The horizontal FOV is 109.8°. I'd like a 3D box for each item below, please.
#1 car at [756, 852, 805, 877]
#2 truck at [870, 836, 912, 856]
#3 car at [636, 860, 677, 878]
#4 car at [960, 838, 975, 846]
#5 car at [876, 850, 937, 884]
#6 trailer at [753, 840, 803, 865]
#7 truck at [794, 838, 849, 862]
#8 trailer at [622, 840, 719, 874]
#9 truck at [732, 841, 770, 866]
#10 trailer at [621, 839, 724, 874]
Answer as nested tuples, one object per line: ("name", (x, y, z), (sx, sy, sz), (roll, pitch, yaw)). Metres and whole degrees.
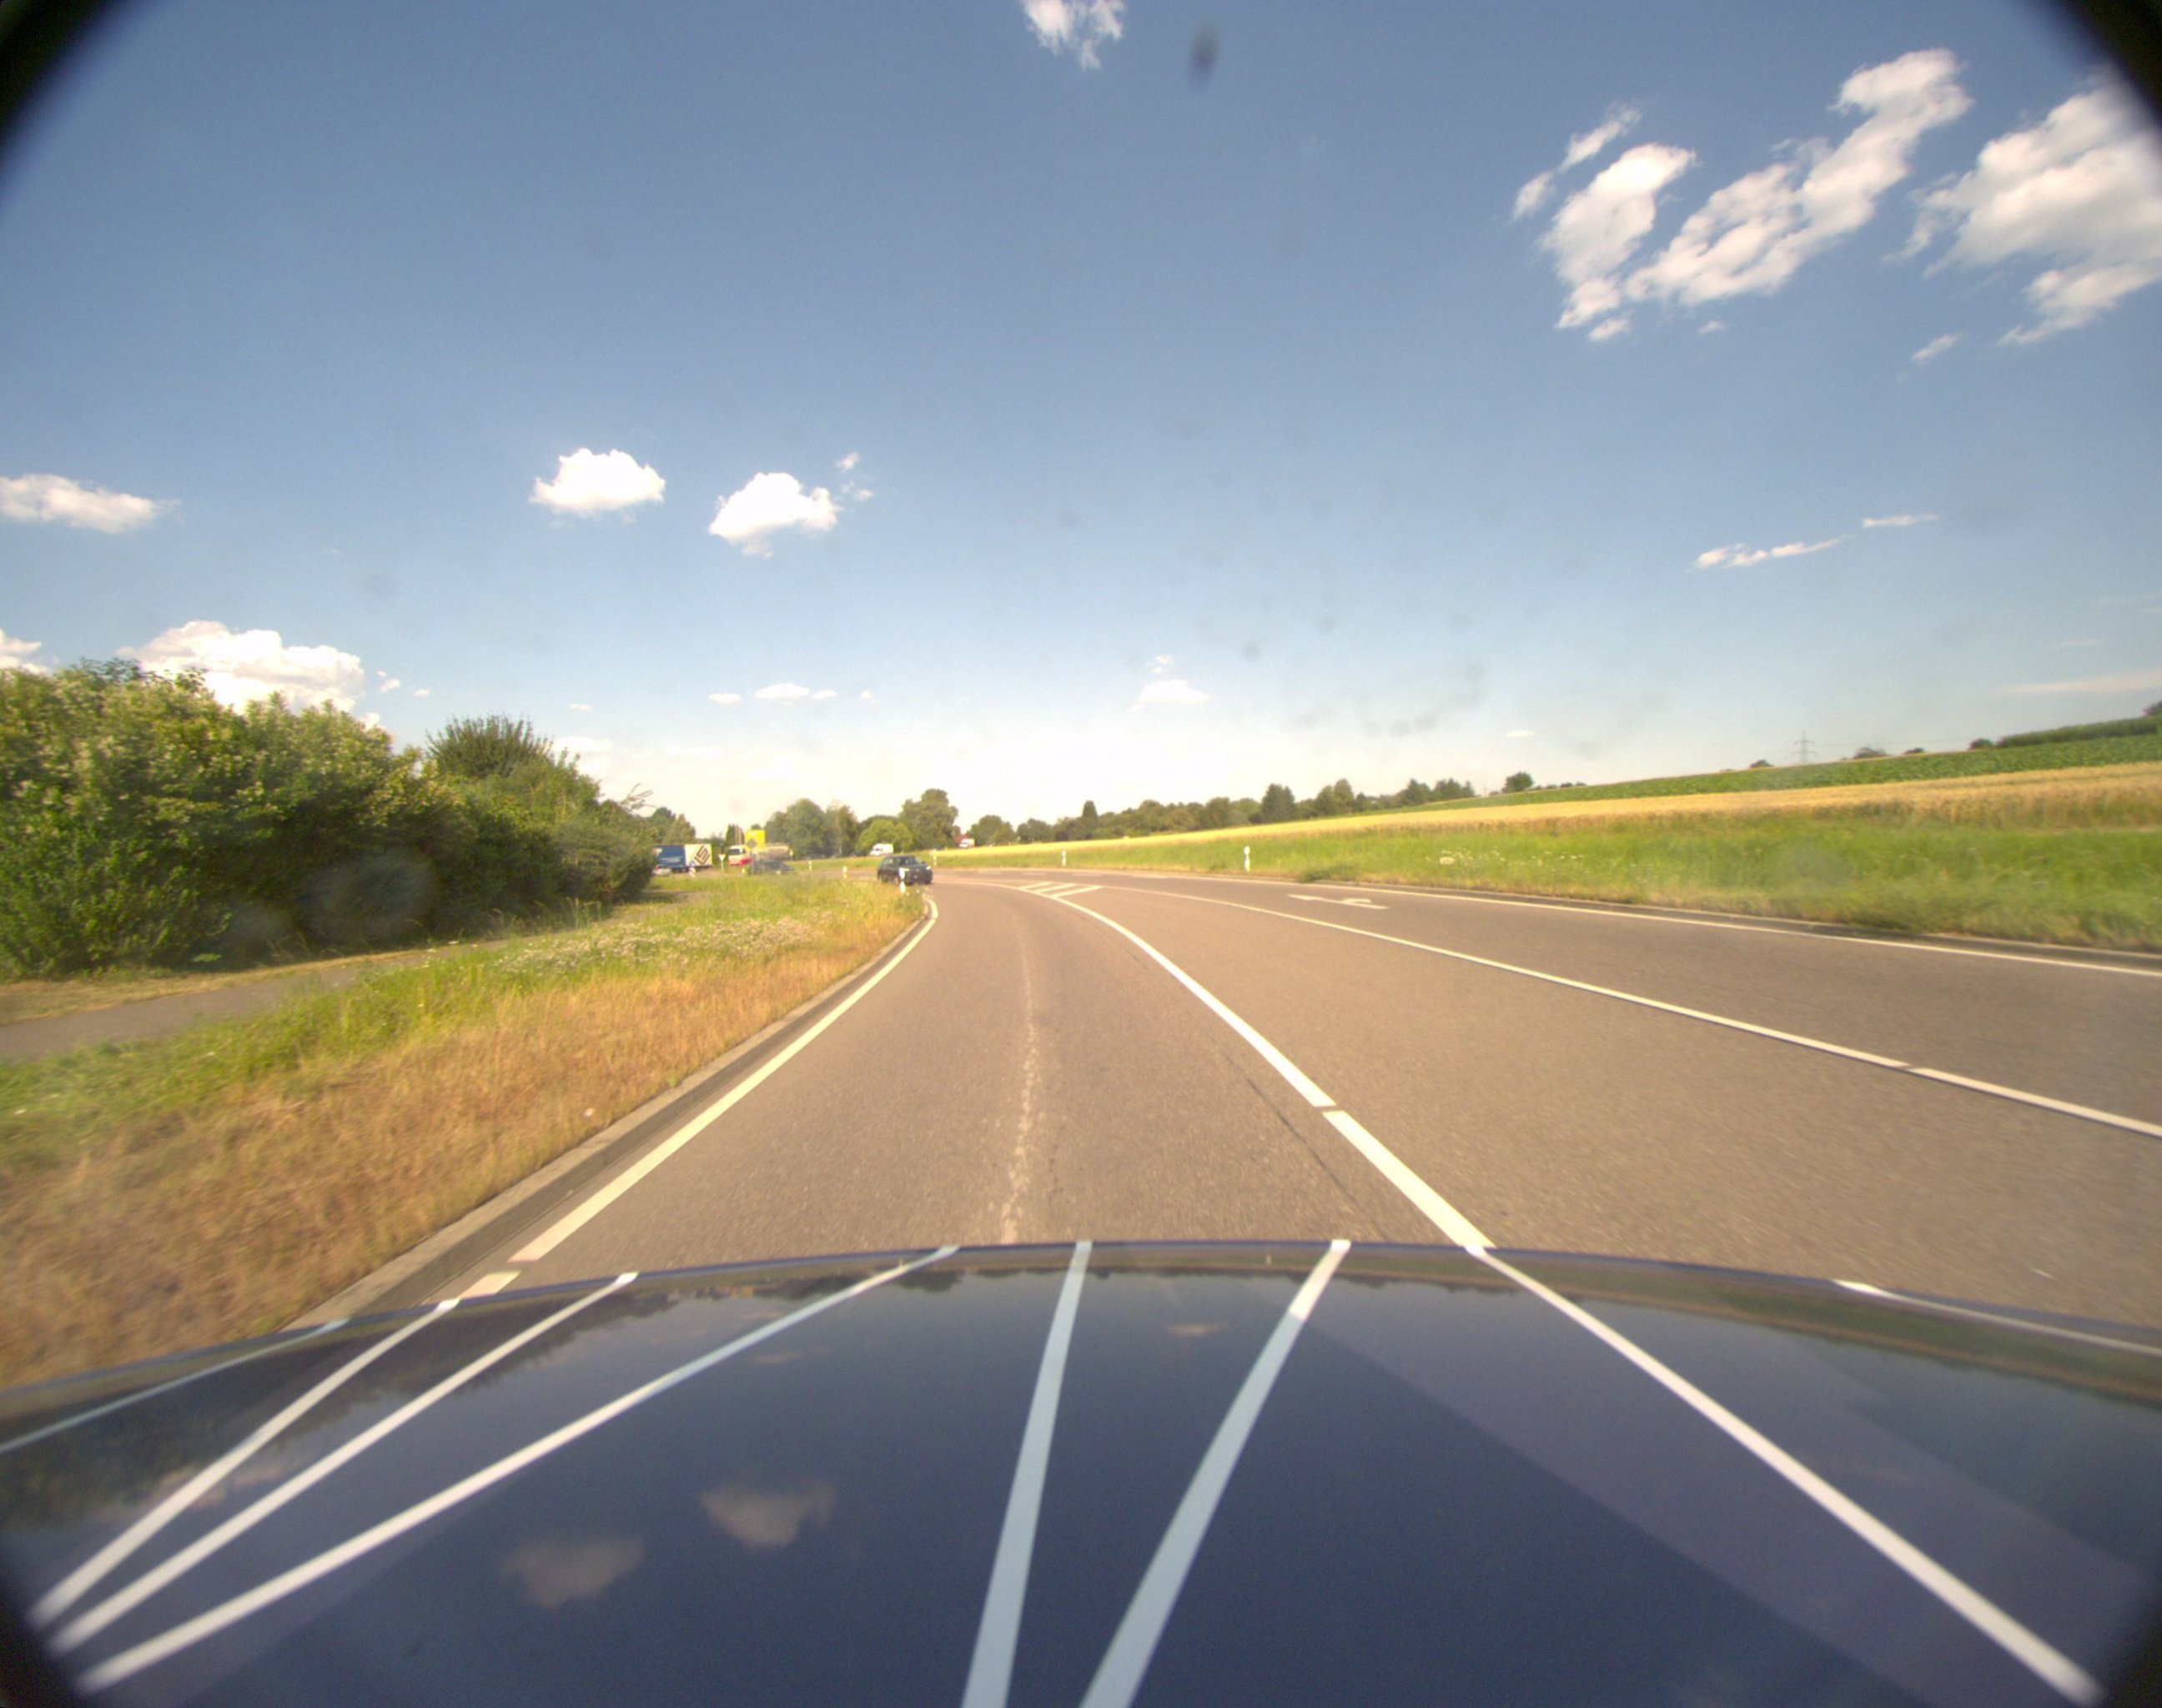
("car", (-21.517, 0.778, 54.320), (1.779, 1.604, 4.535), (-5, 2, -40))
("truck", (-41.176, -1.756, 165.481), (2.526, 3.753, 12.909), (-3, 2, 16))
("car", (-44.898, 1.561, 80.374), (4.343, 1.519, 1.823), (-5, 1, 31))
("car", (-30.342, -3.225, 203.490), (1.997, 2.001, 4.004), (-9, -1, 19))
("car", (-9.406, 0.690, 40.635), (1.791, 1.620, 4.458), (-5, 2, -31))
("trailer", (-51.071, -0.396, 128.283), (2.262, 3.756, 9.532), (-4, 1, 15))
("truck", (-48.084, -0.916, 141.297), (2.526, 3.752, 12.908), (-5, 1, 16))
("trailer", (-57.179, 0.274, 106.706), (2.535, 4.044, 14.348), (-3, 1, 15))
("truck", (-52.840, -0.133, 121.638), (2.259, 3.784, 5.690), (-3, 2, 15))
("trailer", (-54.524, 0.202, 102.136), (3.413, 3.982, 13.760), (-3, 2, 15))
